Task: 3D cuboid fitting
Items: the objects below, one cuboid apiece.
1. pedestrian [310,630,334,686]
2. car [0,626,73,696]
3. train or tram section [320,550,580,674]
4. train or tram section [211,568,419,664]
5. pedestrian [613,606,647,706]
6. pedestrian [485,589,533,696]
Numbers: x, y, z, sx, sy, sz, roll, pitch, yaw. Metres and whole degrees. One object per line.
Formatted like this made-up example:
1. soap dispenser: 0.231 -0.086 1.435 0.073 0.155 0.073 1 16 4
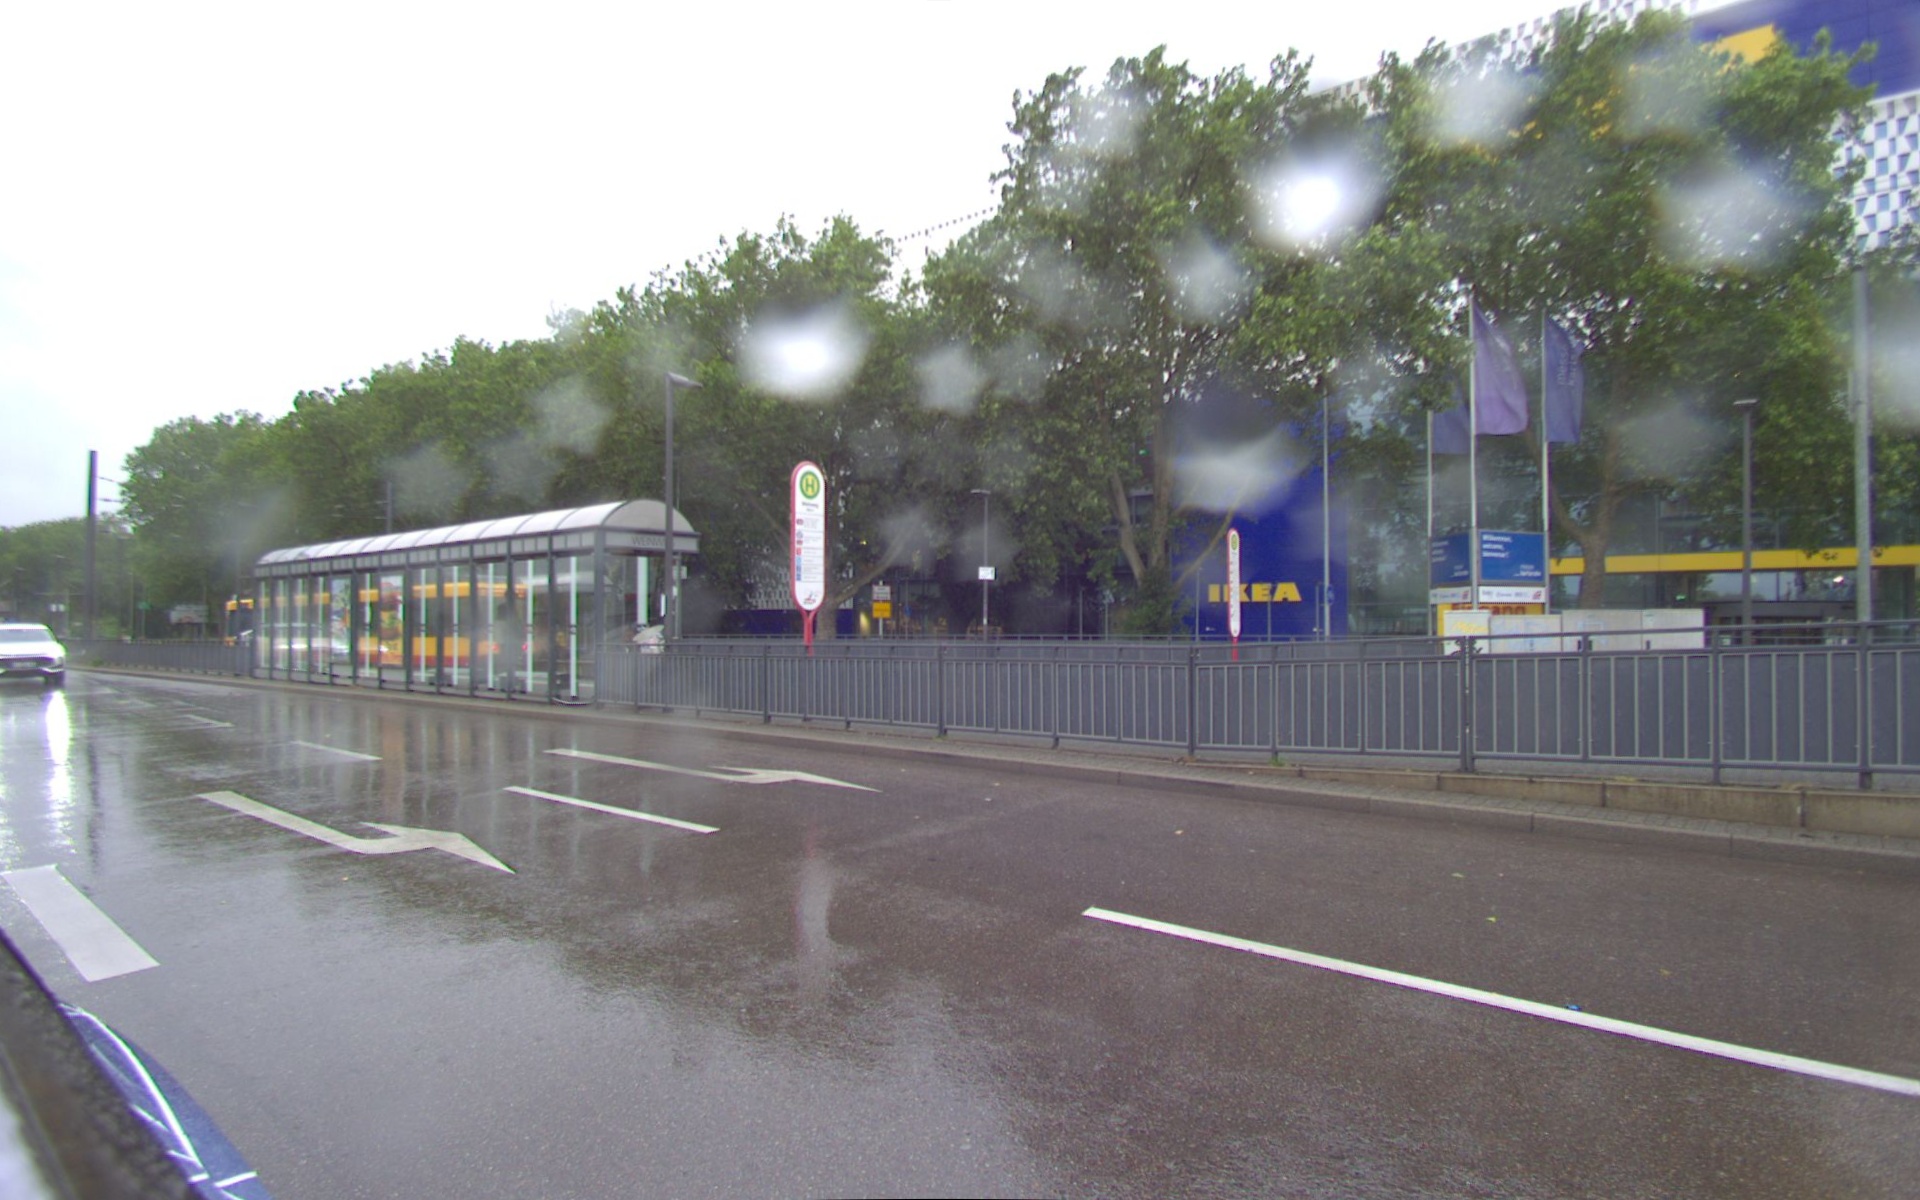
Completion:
1. pedestrian: -14.526 1.313 23.043 0.451 1.245 0.468 0 0 -35
2. car: -26.628 1.649 28.458 4.661 1.788 1.910 -1 0 41
3. train or tram section: -19.216 0.457 37.414 13.245 3.868 3.703 -1 0 40
4. train or tram section: -30.196 0.744 46.795 15.560 3.827 3.703 -1 0 40
5. pedestrian: -5.071 0.849 15.559 0.317 1.504 0.416 -2 1 -44
6. pedestrian: -8.209 0.757 18.416 0.646 1.885 0.774 -1 0 -33
